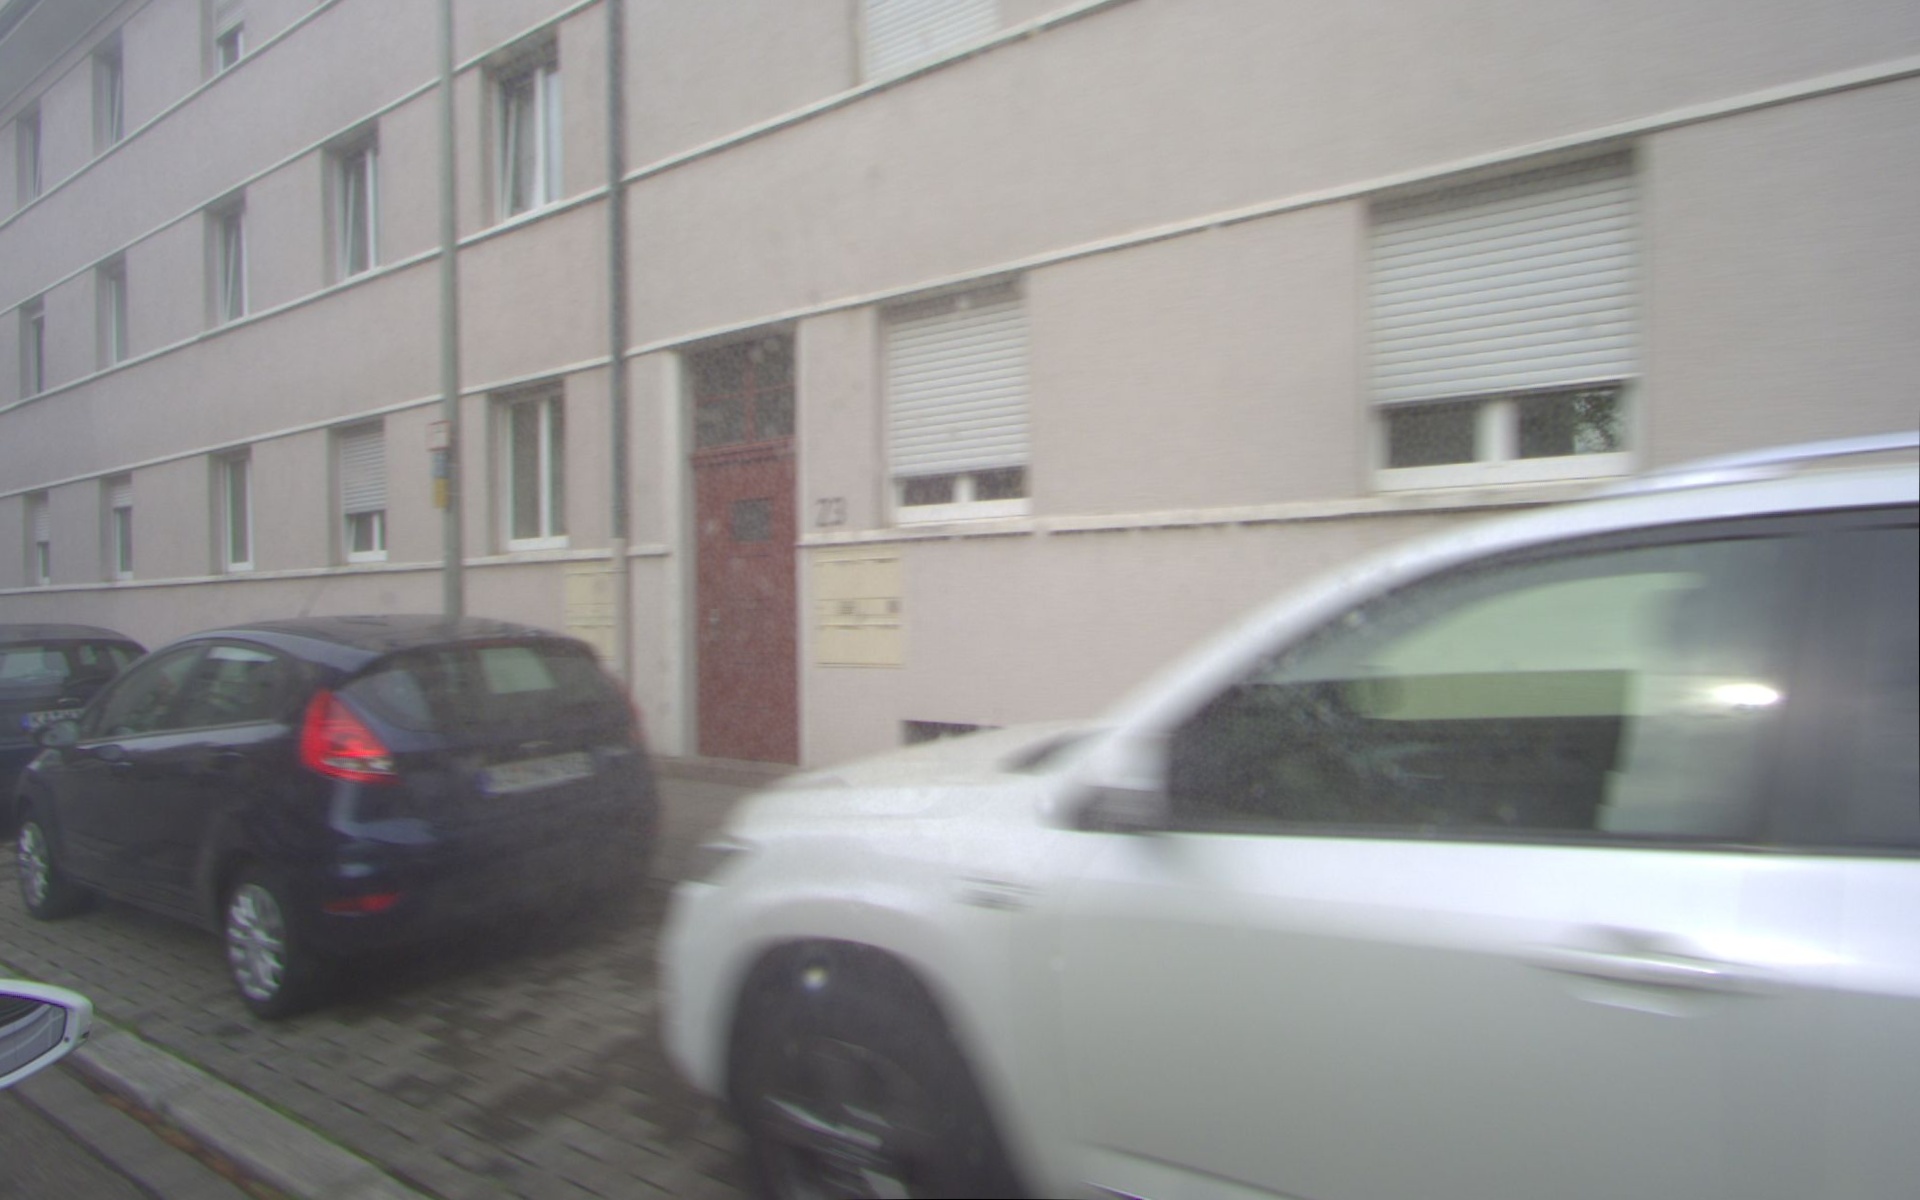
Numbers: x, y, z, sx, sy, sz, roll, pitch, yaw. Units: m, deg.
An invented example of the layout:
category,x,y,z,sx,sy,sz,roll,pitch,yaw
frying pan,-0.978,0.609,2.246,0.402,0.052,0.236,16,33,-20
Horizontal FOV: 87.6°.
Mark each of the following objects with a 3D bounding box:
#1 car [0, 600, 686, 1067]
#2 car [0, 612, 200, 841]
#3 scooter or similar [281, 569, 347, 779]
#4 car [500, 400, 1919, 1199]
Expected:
category,x,y,z,sx,sy,sz,roll,pitch,yaw
car,-3.254,0.769,4.949,3.817,1.498,1.563,0,0,34
car,-7.676,0.858,7.913,3.645,1.493,1.563,0,1,34
scooter or similar,-6.498,0.734,10.092,0.340,2.039,0.677,2,-2,-18
car,1.109,0.605,2.265,4.226,1.696,1.839,0,1,31
